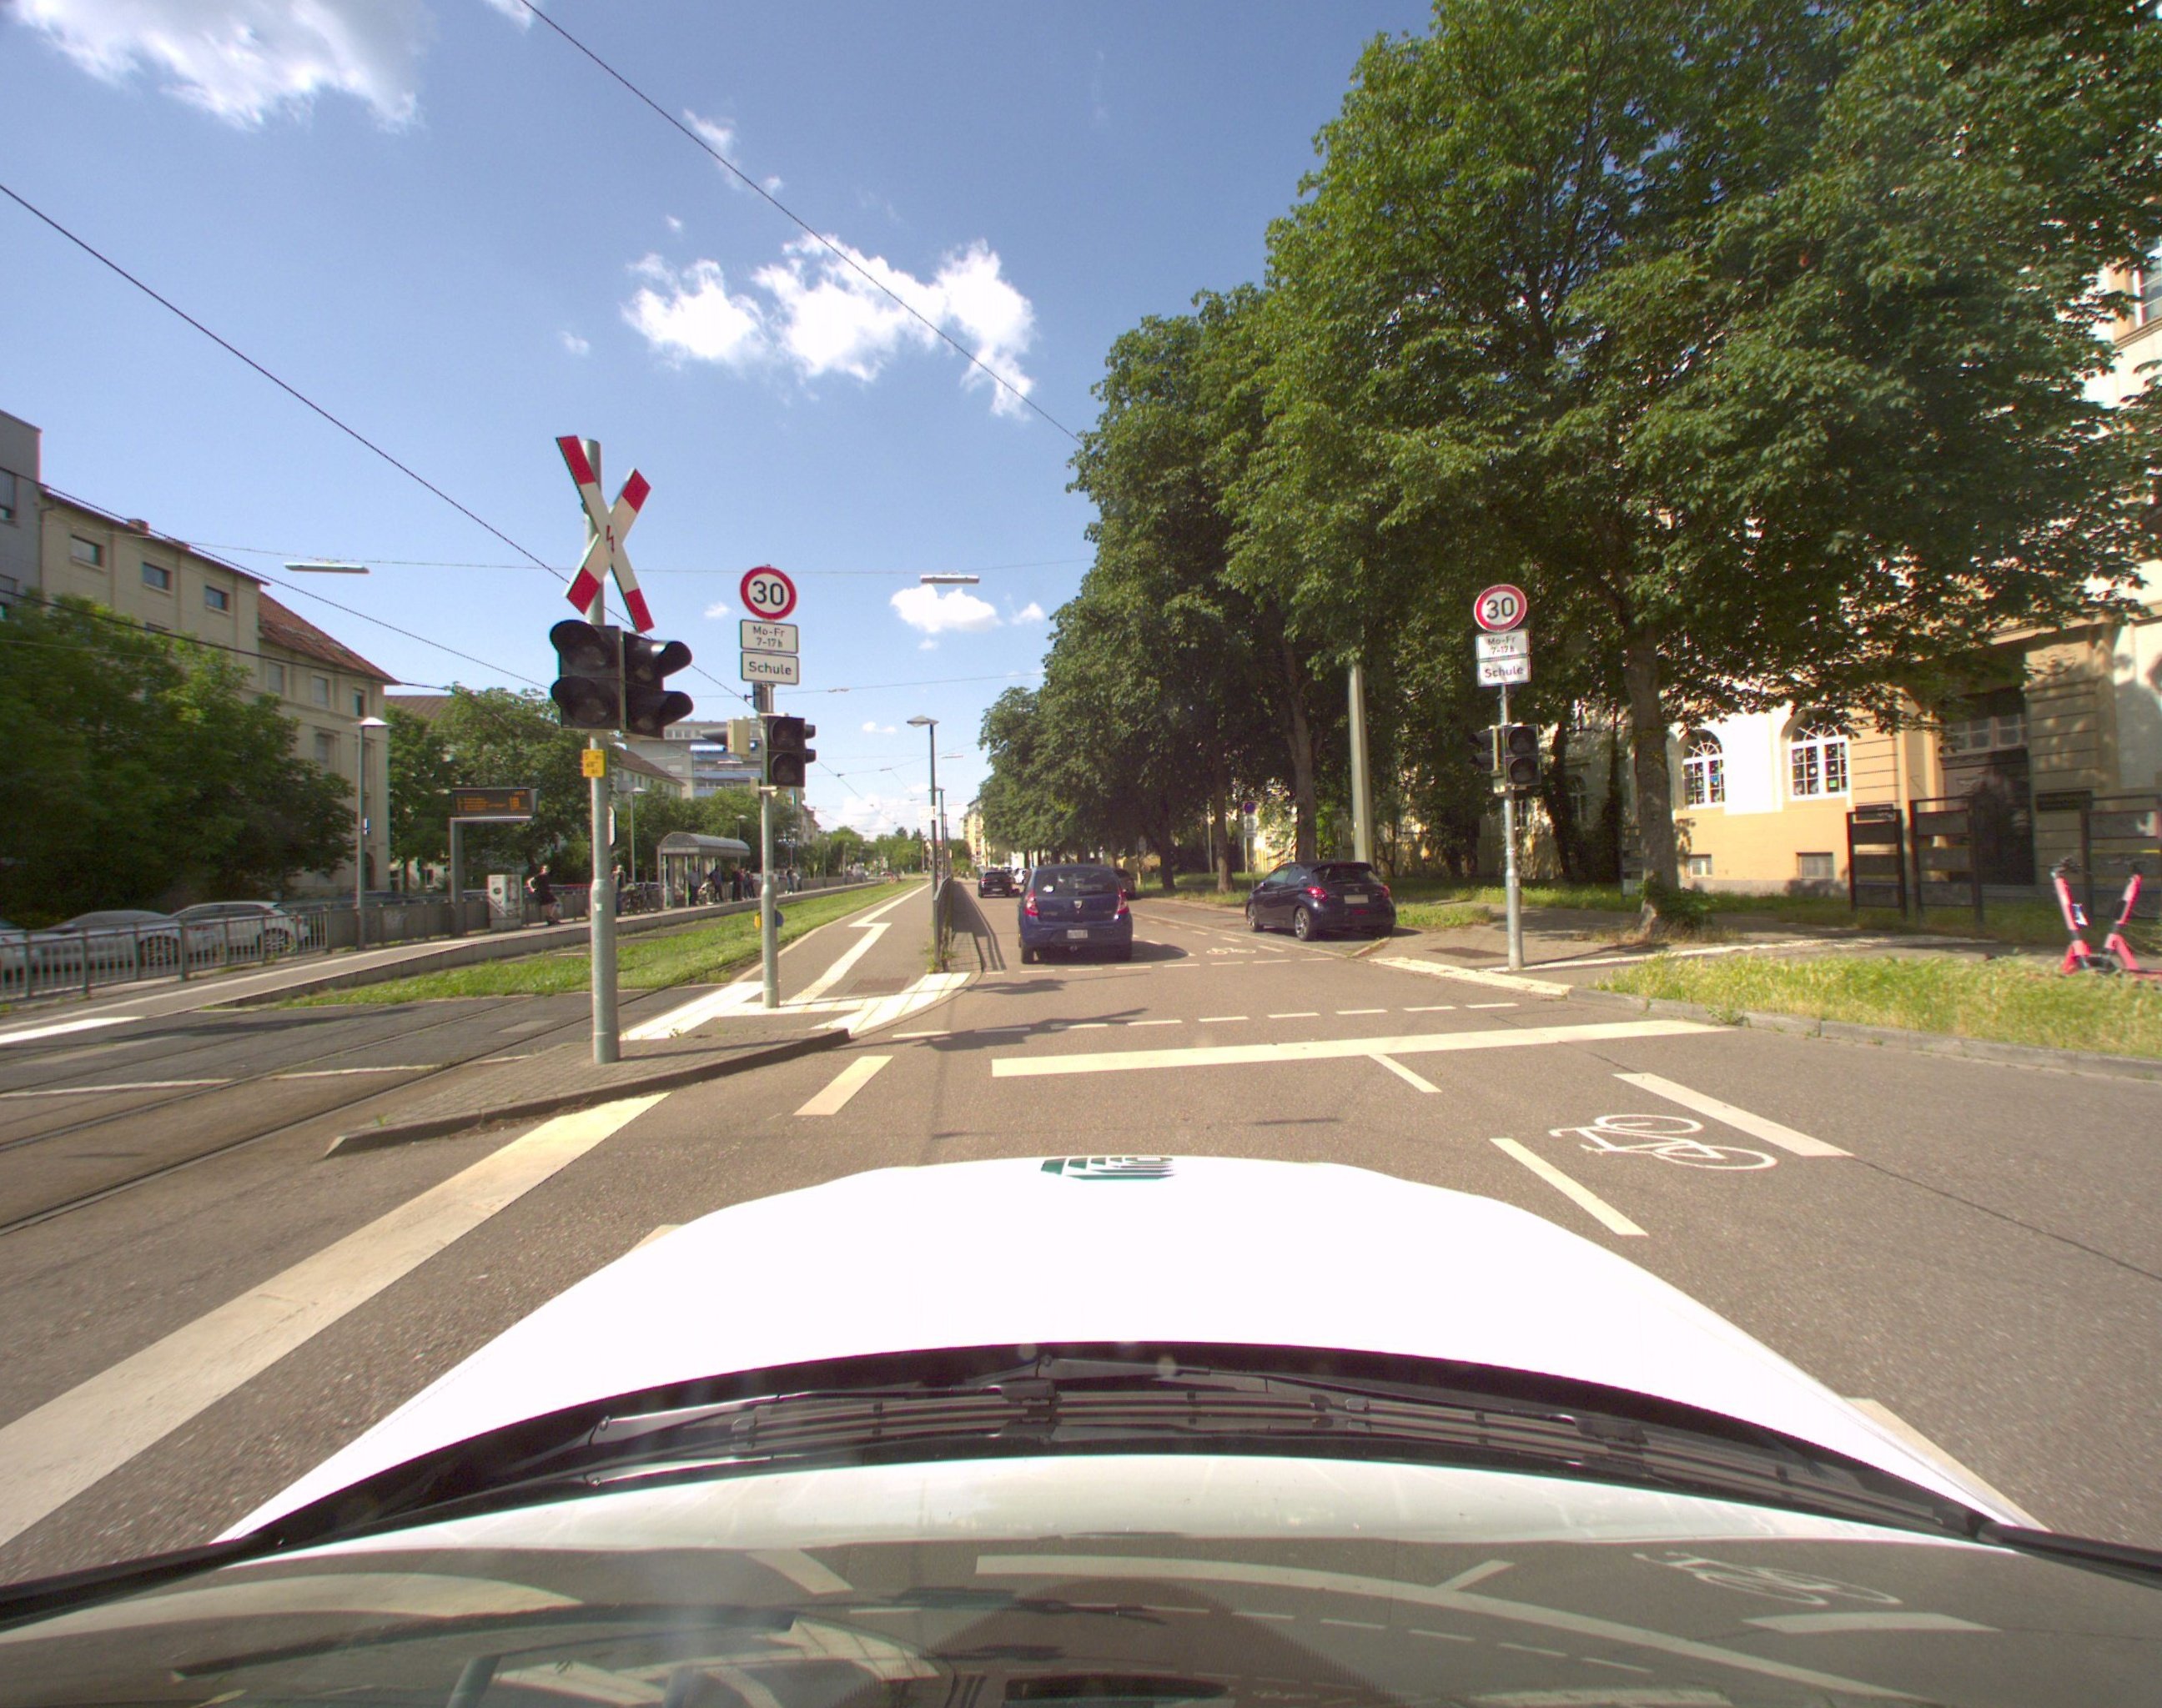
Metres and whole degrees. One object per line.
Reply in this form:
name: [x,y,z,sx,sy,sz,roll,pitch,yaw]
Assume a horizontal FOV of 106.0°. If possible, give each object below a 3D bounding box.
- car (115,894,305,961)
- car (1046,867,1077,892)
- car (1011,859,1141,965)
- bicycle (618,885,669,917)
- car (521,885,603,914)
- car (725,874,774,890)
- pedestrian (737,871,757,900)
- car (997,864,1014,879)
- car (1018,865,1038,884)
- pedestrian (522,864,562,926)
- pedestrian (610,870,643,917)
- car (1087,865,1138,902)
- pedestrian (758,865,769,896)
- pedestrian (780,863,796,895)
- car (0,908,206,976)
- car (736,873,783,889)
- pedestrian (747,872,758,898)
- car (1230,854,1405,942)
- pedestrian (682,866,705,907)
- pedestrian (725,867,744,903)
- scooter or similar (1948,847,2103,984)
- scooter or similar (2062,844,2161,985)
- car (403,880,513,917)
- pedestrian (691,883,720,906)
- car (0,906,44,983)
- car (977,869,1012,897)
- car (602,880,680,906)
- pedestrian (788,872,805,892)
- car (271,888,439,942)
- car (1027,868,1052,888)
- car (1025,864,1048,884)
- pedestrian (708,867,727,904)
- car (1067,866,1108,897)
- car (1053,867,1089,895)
car: [-23.435,1.921,22.063,1.525,1.505,3.409,-3,-1,44]
car: [-1.304,1.618,52.778,1.847,1.515,3.995,-2,-1,-3]
car: [-0.231,0.862,13.646,1.766,1.462,3.767,-2,-1,-6]
bicycle: [-15.039,1.606,28.066,0.683,0.974,1.771,-4,0,2]
car: [-26.956,2.348,42.371,1.437,1.309,3.267,-3,-1,36]
car: [-31.337,2.636,77.102,1.618,1.386,4.026,-3,-1,36]
pedestrian: [-16.576,1.561,40.422,0.648,1.426,0.566,-3,-1,28]
car: [-9.071,2.102,97.591,1.826,1.762,3.995,-2,-1,-3]
car: [-5.187,1.972,79.196,1.616,1.750,3.989,-2,-1,-8]
pedestrian: [-15.322,1.156,23.151,0.705,1.726,0.672,-3,-1,33]
pedestrian: [-15.652,1.346,28.070,0.661,1.569,0.685,-3,-1,-1]
car: [1.365,1.266,36.495,1.857,1.445,3.995,-4,-1,-3]
pedestrian: [-17.999,1.503,46.225,0.489,1.712,0.461,-2,-1,-18]
pedestrian: [-18.918,1.626,52.617,0.800,2.014,0.661,-2,-1,-6]
car: [-22.911,2.000,18.978,1.525,1.236,3.410,-3,-1,42]
car: [-32.432,2.712,82.237,4.022,1.447,1.707,-1,-1,-43]
pedestrian: [-18.690,1.736,46.379,0.489,1.452,0.461,-2,-1,-18]
car: [4.478,0.793,16.085,1.765,1.433,3.891,-3,-1,-9]
pedestrian: [-16.480,1.392,34.637,0.654,1.692,0.654,-3,-1,-8]
pedestrian: [-16.886,1.505,39.732,0.602,1.766,0.639,-2,-1,1]
scooter or similar: [8.840,0.539,7.674,0.303,1.189,1.167,-2,-1,15]
scooter or similar: [9.677,0.533,7.288,1.013,1.231,0.440,-2,-1,28]
car: [-25.565,1.815,33.511,1.437,1.309,3.267,-3,-1,33]
pedestrian: [-16.592,1.790,36.031,0.923,0.989,0.795,-3,-2,-6]
car: [-23.223,1.871,15.511,1.704,1.499,4.158,-3,-1,42]
car: [-4.610,1.525,43.670,1.697,1.368,3.509,-1,0,-4]
car: [-28.164,2.483,52.185,1.694,1.367,4.025,-3,-1,40]
pedestrian: [-20.805,2.038,59.570,1.033,1.438,0.698,-3,0,-23]
car: [-24.296,1.998,27.370,1.669,1.456,4.025,-4,-1,41]
car: [-3.306,1.862,65.159,1.857,1.445,3.995,-3,-1,-3]
car: [-3.838,1.719,70.656,1.824,1.537,3.995,-3,-1,-3]
pedestrian: [-17.235,1.491,38.592,0.592,1.736,0.556,-3,-1,-4]
car: [0.278,1.405,42.615,1.857,1.445,3.995,-4,-1,-3]
car: [-0.628,1.565,48.266,1.857,1.445,3.995,-4,-1,-3]
